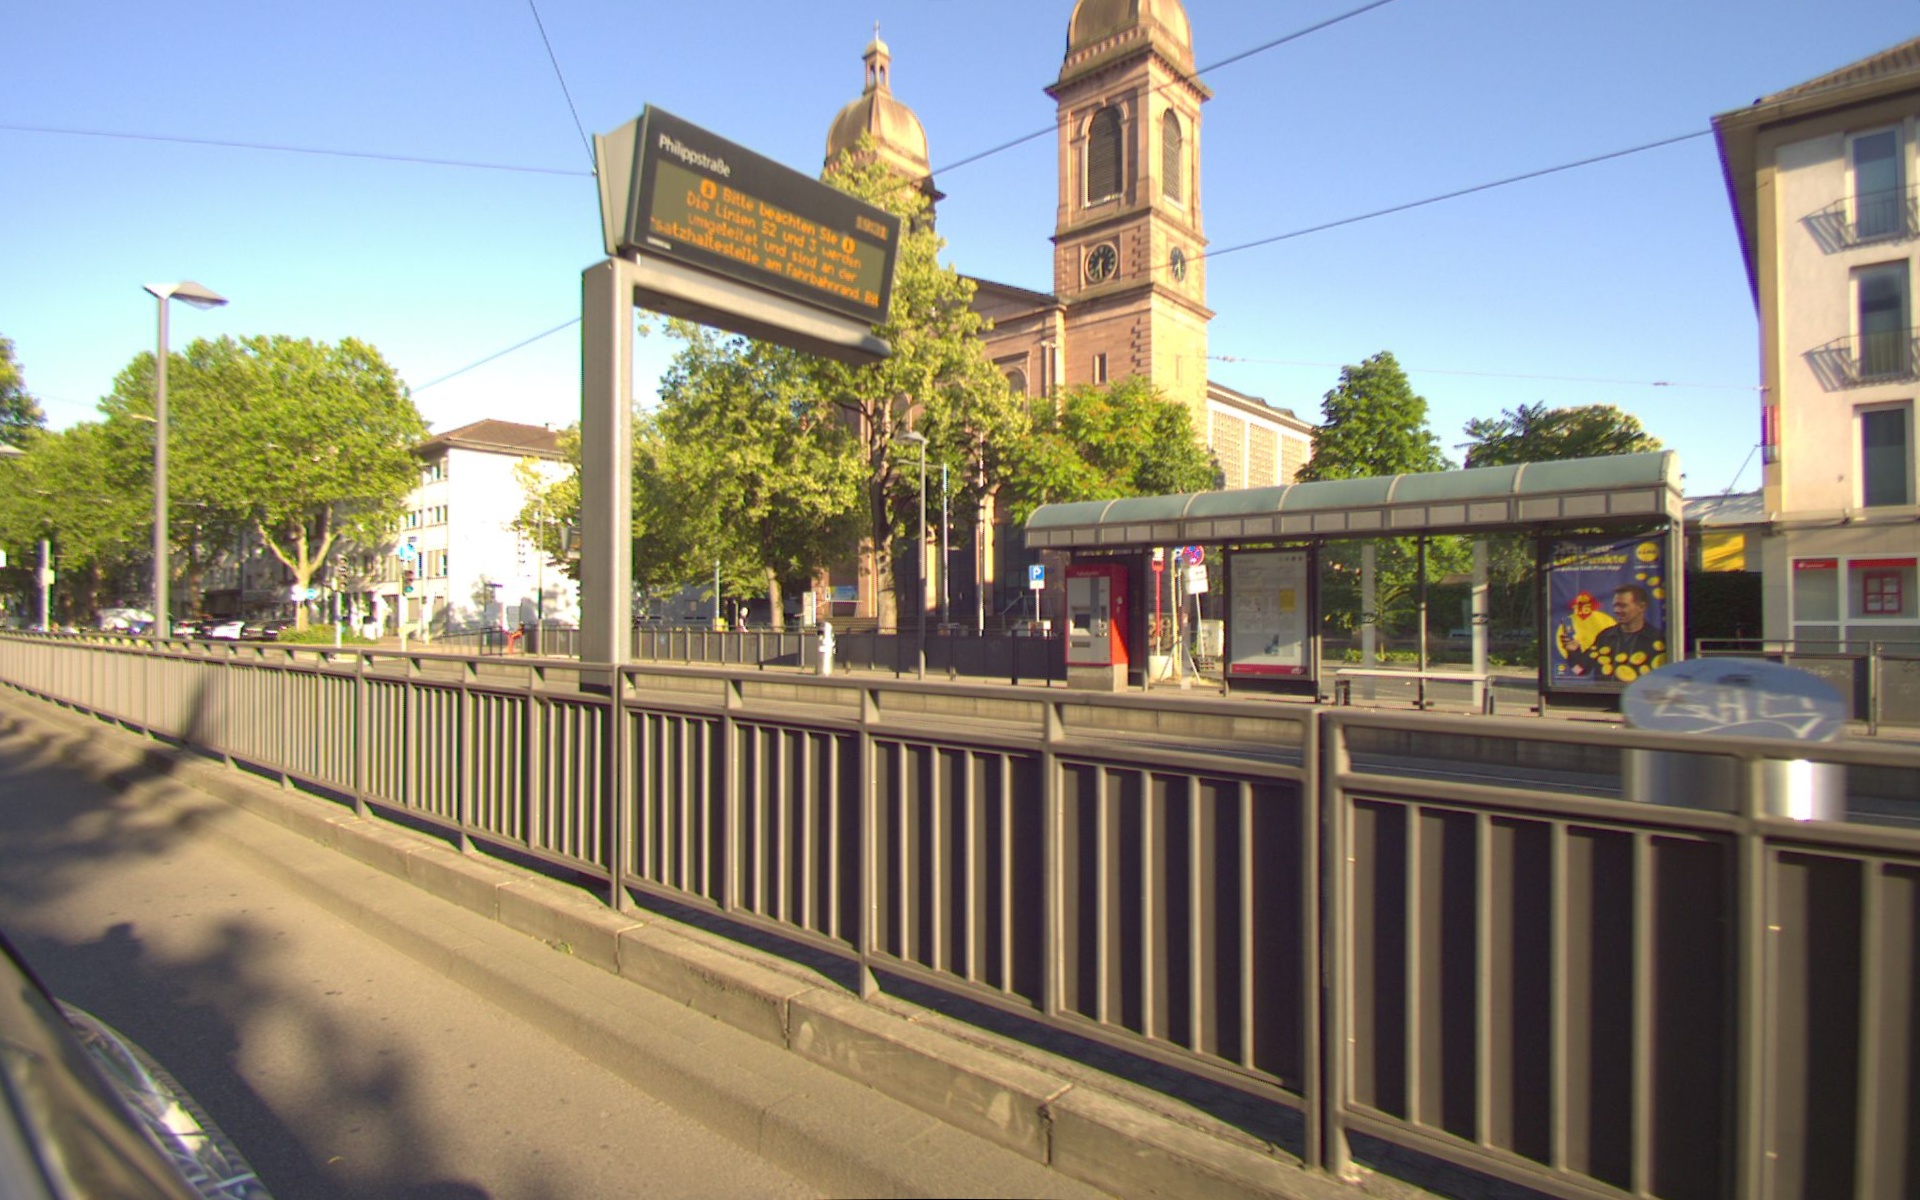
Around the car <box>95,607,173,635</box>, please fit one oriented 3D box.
[{"bbox_3d":[-80.488,2.054,98.720,2.161,2.721,5.582,-1,-2,17],"label":"car"}]

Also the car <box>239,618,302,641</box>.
[{"bbox_3d":[-46.939,1.992,68.988,1.717,1.443,3.972,-1,-1,-2],"label":"car"}]

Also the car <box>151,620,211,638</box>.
[{"bbox_3d":[-65.653,2.467,85.383,1.582,1.470,4.250,0,-1,5],"label":"car"}]

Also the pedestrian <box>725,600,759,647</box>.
[{"bbox_3d":[-8.282,0.884,38.412,0.832,1.773,0.909,0,-1,43],"label":"pedestrian"}]

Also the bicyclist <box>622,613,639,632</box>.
[{"bbox_3d":[-23.147,1.604,71.153,0.633,1.341,0.956,-2,-2,42],"label":"bicyclist"}]

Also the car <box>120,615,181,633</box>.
[{"bbox_3d":[-73.738,2.166,92.239,1.981,1.630,3.982,0,-1,14],"label":"car"}]

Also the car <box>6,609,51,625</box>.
[{"bbox_3d":[-134.709,2.505,146.396,2.072,2.230,4.942,0,-1,-1],"label":"car"}]

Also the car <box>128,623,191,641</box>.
[{"bbox_3d":[-71.322,2.831,90.238,1.986,1.529,3.972,-1,-2,21],"label":"car"}]

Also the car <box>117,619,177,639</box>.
[{"bbox_3d":[-77.869,2.806,96.986,1.981,1.829,3.981,1,-3,14],"label":"car"}]

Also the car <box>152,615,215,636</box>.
[{"bbox_3d":[-63.022,2.033,82.249,1.880,1.626,4.258,0,-1,-1],"label":"car"}]

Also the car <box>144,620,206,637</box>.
[{"bbox_3d":[-67.962,2.475,87.723,1.884,1.468,4.250,0,-1,5],"label":"car"}]

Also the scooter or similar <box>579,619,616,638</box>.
[{"bbox_3d":[-22.162,1.706,61.817,2.447,1.135,1.082,-1,-1,42],"label":"scooter or similar"}]

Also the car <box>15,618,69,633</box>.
[{"bbox_3d":[-102.769,2.870,113.364,1.997,1.719,4.183,-1,-2,37],"label":"car"}]

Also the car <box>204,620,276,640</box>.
[{"bbox_3d":[-51.475,2.122,72.448,2.123,1.388,4.256,0,-1,1],"label":"car"}]

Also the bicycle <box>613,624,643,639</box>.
[{"bbox_3d":[-23.295,2.202,70.944,0.632,0.988,1.962,-2,-2,42],"label":"bicycle"}]

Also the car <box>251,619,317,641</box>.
[{"bbox_3d":[-44.404,1.959,66.569,1.747,1.442,3.972,0,-1,-2],"label":"car"}]

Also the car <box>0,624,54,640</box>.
[{"bbox_3d":[-103.045,3.533,111.854,1.981,1.719,3.981,-1,-1,14],"label":"car"}]

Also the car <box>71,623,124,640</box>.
[{"bbox_3d":[-92.393,3.358,108.459,1.981,1.829,3.981,-1,-2,14],"label":"car"}]

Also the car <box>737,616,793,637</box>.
[{"bbox_3d":[-13.727,1.862,71.126,3.999,1.409,1.792,-2,-3,42],"label":"car"}]

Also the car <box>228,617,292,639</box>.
[{"bbox_3d":[-49.150,1.985,71.154,1.805,1.516,3.972,0,-1,-2],"label":"car"}]

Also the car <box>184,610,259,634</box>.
[{"bbox_3d":[-54.161,1.607,74.311,2.127,1.697,4.249,0,-1,6],"label":"car"}]

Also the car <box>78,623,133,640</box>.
[{"bbox_3d":[-89.823,3.297,106.433,1.981,1.829,3.981,-1,-2,14],"label":"car"}]

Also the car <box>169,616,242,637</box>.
[{"bbox_3d":[-57.831,1.997,77.636,1.634,1.569,4.220,-1,-2,26],"label":"car"}]
